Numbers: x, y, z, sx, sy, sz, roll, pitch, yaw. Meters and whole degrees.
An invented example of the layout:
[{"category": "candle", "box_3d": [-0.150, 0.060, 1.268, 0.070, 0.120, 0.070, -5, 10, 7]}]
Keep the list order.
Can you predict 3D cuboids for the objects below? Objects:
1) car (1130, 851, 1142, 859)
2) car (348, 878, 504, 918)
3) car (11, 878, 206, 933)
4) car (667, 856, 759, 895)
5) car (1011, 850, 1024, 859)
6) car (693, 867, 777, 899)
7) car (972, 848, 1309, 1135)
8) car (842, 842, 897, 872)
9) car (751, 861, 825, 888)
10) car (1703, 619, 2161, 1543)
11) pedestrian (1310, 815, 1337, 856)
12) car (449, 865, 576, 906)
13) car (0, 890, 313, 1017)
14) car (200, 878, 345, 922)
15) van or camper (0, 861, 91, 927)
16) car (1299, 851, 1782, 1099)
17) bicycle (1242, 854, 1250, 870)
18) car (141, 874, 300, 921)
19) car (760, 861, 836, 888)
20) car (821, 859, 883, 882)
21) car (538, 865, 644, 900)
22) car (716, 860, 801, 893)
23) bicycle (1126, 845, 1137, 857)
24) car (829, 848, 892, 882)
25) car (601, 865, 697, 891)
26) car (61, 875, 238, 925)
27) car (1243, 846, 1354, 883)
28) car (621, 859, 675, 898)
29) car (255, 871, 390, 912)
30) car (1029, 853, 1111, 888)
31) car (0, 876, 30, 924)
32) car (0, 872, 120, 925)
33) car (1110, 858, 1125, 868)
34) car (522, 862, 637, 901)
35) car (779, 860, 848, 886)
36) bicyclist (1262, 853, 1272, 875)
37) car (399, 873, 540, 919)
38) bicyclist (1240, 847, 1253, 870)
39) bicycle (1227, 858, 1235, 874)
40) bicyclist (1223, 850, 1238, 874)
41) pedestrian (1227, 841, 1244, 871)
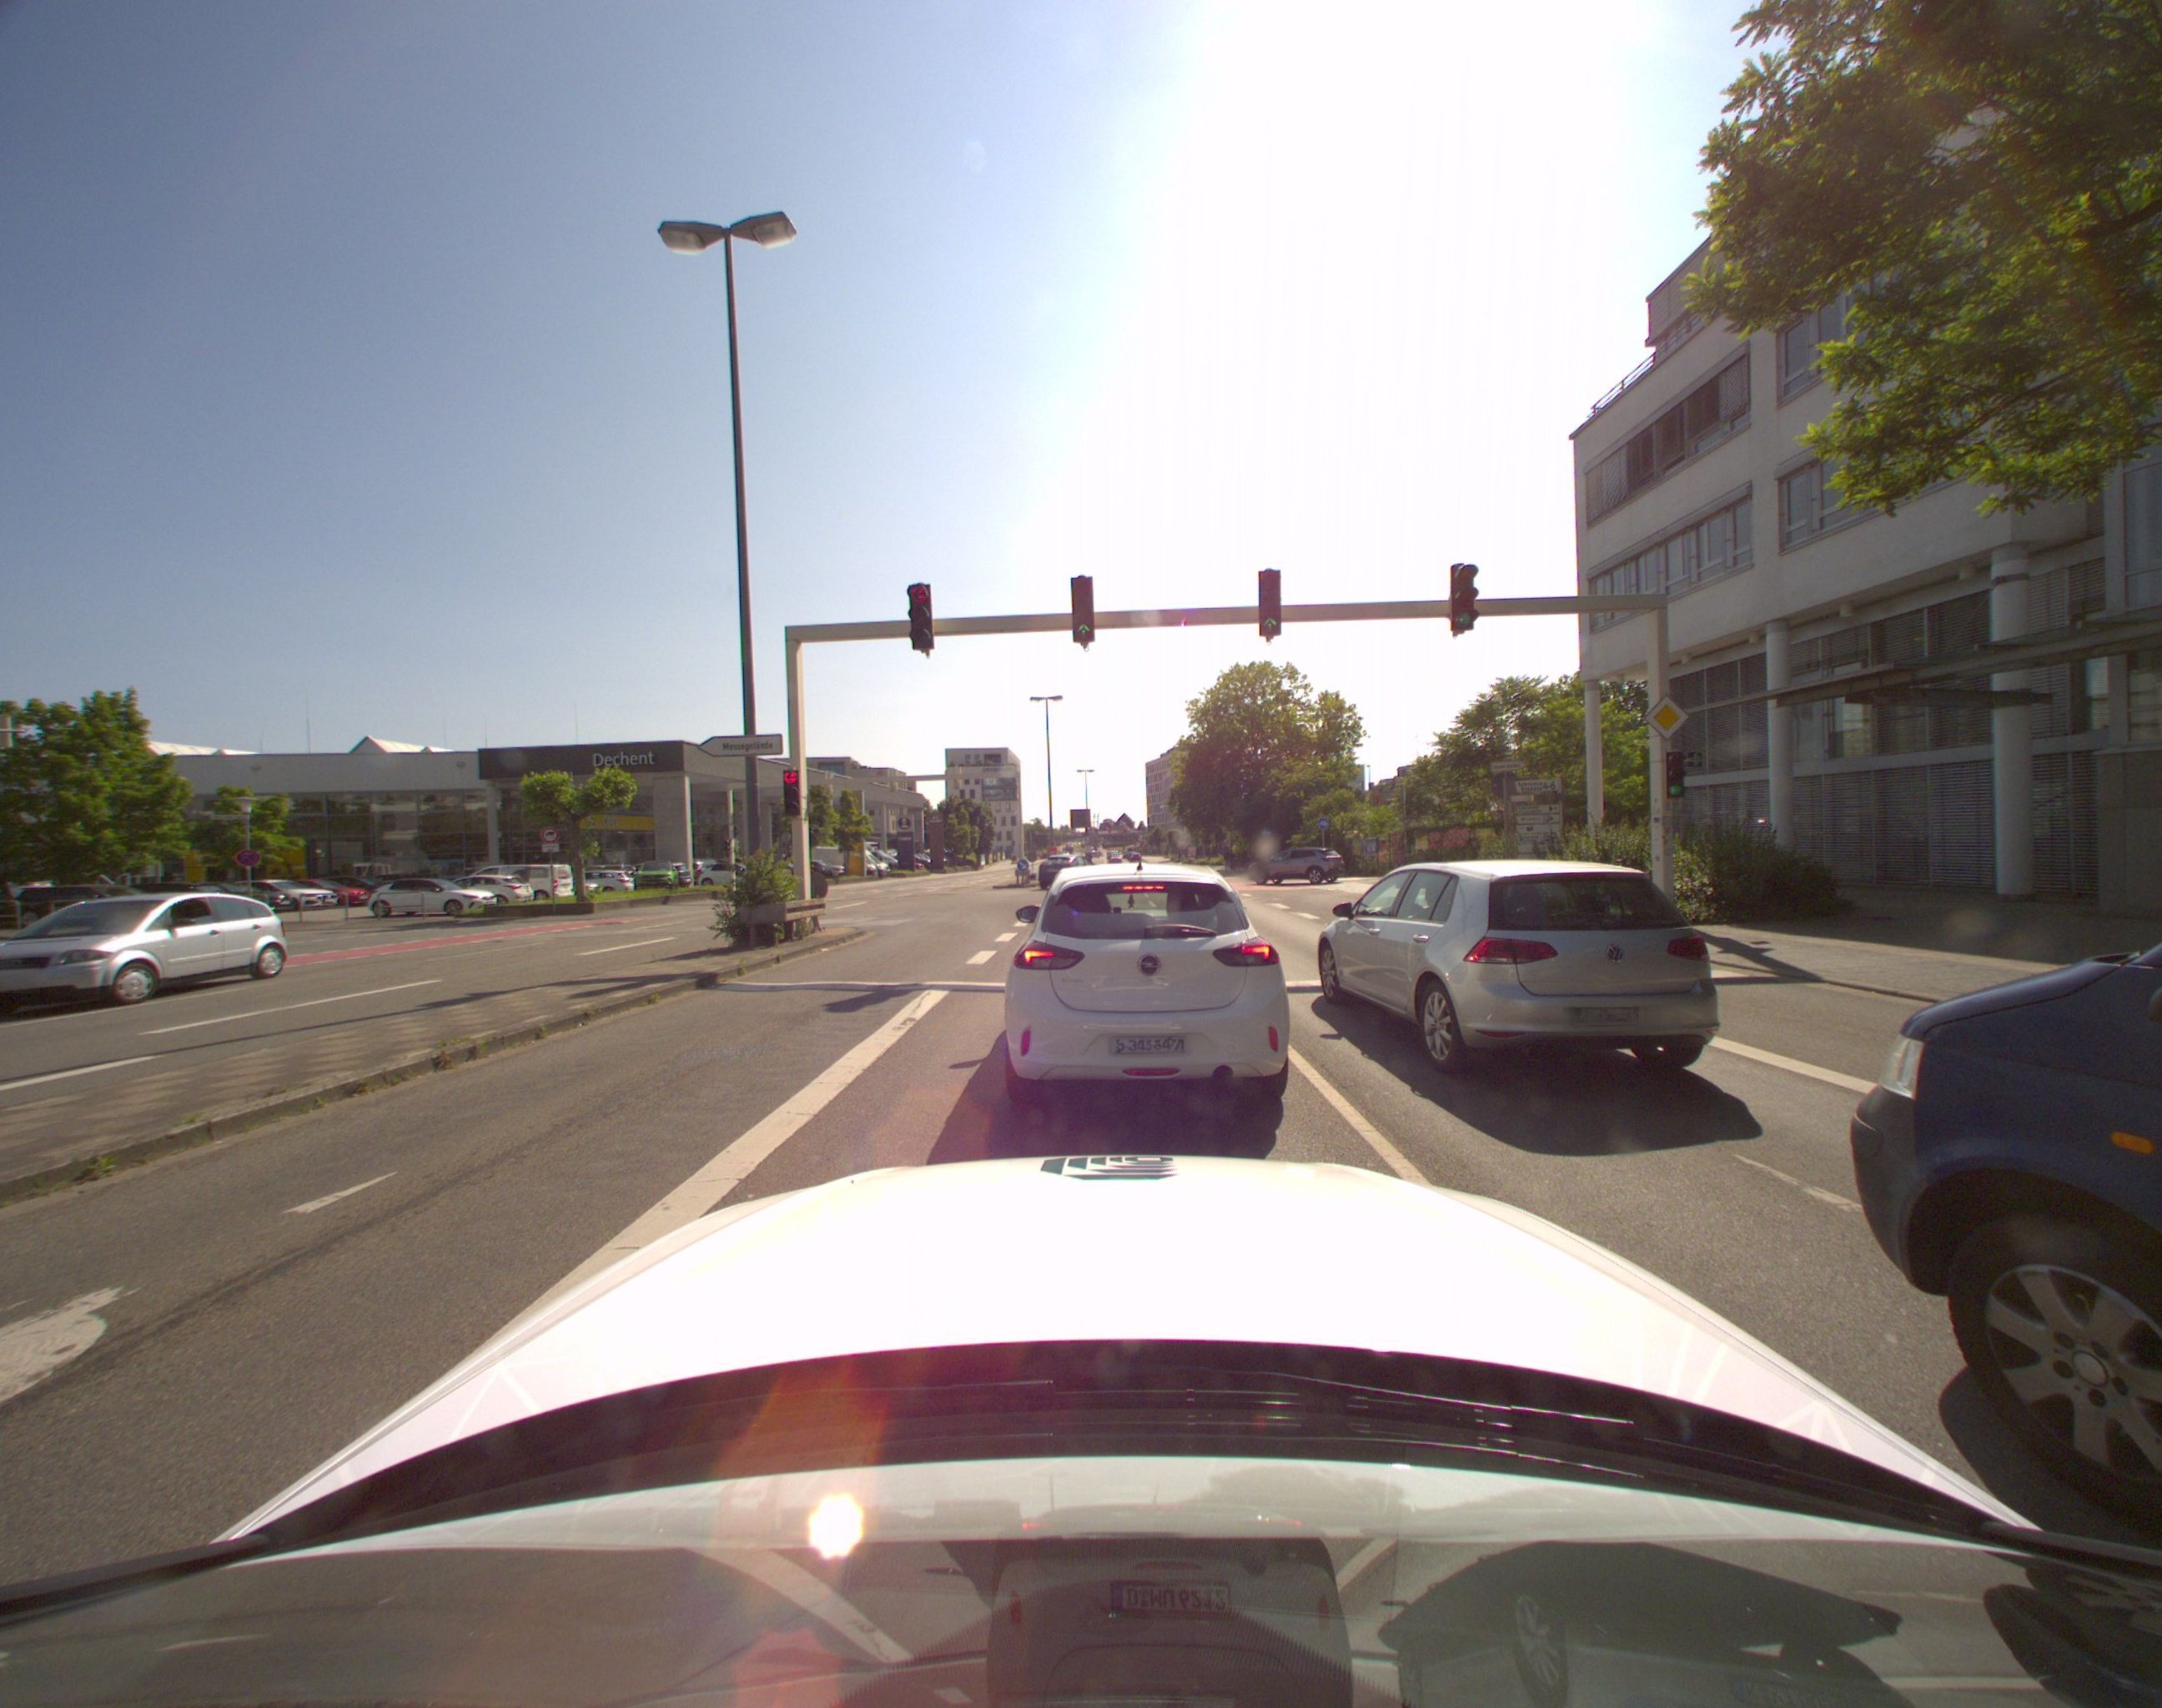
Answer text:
[{"category": "car", "box_3d": [9.087, 0.165, 135.267, 1.799, 1.386, 4.001, 0, -1, 2]}, {"category": "car", "box_3d": [-25.523, 1.680, 31.869, 4.348, 1.300, 1.997, -2, 0, -4]}, {"category": "car", "box_3d": [-35.085, 1.813, 29.487, 4.348, 1.696, 1.997, -2, 0, -4]}, {"category": "car", "box_3d": [-19.261, 1.096, 42.785, 3.859, 1.837, 1.999, -2, 0, -1]}, {"category": "car", "box_3d": [-11.175, 0.106, 142.638, 1.799, 1.386, 4.001, 0, -1, 2]}, {"category": "car", "box_3d": [-19.871, 1.650, 46.933, 3.981, 1.599, 1.996, -2, 0, -6]}, {"category": "car", "box_3d": [0.376, 0.745, 6.398, 1.773, 1.494, 4.001, -2, 0, 2]}, {"category": "car", "box_3d": [-19.098, 0.277, 73.695, 4.334, 2.601, 2.004, -2, 0, 6]}, {"category": "car", "box_3d": [-20.404, 1.401, 56.816, 4.344, 1.696, 1.999, -2, 0, -1]}, {"category": "car", "box_3d": [3.218, 0.446, 0.497, 1.986, 1.948, 4.892, -2, -1, 2]}, {"category": "pedestrian", "box_3d": [12.389, -0.931, 41.589, 1.023, 2.013, 1.039, -2, 0, 1]}, {"category": "car", "box_3d": [-26.545, 1.443, 38.174, 4.353, 1.696, 1.995, -2, 0, -7]}, {"category": "car", "box_3d": [-14.100, 1.368, 12.332, 1.773, 1.438, 3.899, -2, 0, -12]}, {"category": "car", "box_3d": [-36.638, 2.059, 37.023, 4.348, 1.696, 1.997, -2, 0, -4]}, {"category": "van or camper", "box_3d": [-41.949, 1.572, 31.348, 4.711, 2.400, 1.995, -2, 0, -8]}, {"category": "car", "box_3d": [3.302, 0.744, 6.900, 1.801, 1.429, 3.999, -2, -1, 0]}, {"category": "bicycle", "box_3d": [11.965, 0.588, 58.936, 0.372, 1.147, 1.034, 0, -1, 0]}, {"category": "car", "box_3d": [-36.099, 1.797, 34.272, 4.348, 1.696, 1.997, -2, 0, -4]}, {"category": "car", "box_3d": [-18.984, 1.358, 54.716, 4.343, 1.696, 1.999, -2, 0, -1]}, {"category": "car", "box_3d": [-18.506, 1.344, 65.909, 4.334, 1.696, 2.004, -2, 0, 6]}, {"category": "car", "box_3d": [-26.159, 1.498, 43.592, 4.352, 1.591, 1.996, -2, 0, -7]}, {"category": "car", "box_3d": [-19.604, 1.341, 49.590, 4.284, 1.765, 1.999, -2, 0, -1]}, {"category": "bicycle", "box_3d": [9.658, -0.496, 155.513, 1.986, 2.157, 4.001, -2, 0, 1]}, {"category": "car", "box_3d": [-18.473, 0.945, 68.361, 4.469, 2.684, 2.134, -2, 0, 10]}, {"category": "car", "box_3d": [-24.705, 1.377, 46.687, 4.352, 1.268, 1.995, -3, -2, -7]}, {"category": "car", "box_3d": [-36.458, 1.777, 31.982, 4.348, 1.696, 1.997, -2, 0, -4]}, {"category": "car", "box_3d": [9.862, 0.489, 37.051, 4.376, 1.551, 2.013, -2, 0, 38]}, {"category": "car", "box_3d": [-21.255, 1.220, 39.964, 1.915, 1.733, 3.258, -2, -1, -35]}, {"category": "car", "box_3d": [-36.621, 1.777, 39.422, 4.352, 1.696, 1.995, -2, 0, -7]}, {"category": "car", "box_3d": [-0.423, 0.722, 36.615, 1.975, 1.447, 4.396, -1, 0, 24]}, {"category": "car", "box_3d": [-40.539, 1.724, 28.365, 4.371, 1.696, 1.987, -2, 0, -20]}, {"category": "car", "box_3d": [-43.164, 1.821, 33.706, 3.984, 2.013, 1.995, -2, 0, -8]}, {"category": "car", "box_3d": [5.261, 1.294, 118.595, 1.987, 1.331, 3.998, 0, -1, -1]}, {"category": "car", "box_3d": [-24.727, 1.315, 40.299, 4.353, 1.696, 1.995, -2, 0, -7]}, {"category": "car", "box_3d": [-19.749, 1.371, 60.192, 4.344, 1.696, 1.999, -2, 0, -1]}, {"category": "bicyclist", "box_3d": [14.056, 0.778, 61.474, 0.650, 1.637, 0.660, 0, -1, 3]}, {"category": "car", "box_3d": [-26.175, 1.777, 34.989, 4.348, 1.696, 1.997, -2, 0, -4]}, {"category": "bicyclist", "box_3d": [11.972, 0.352, 58.979, 0.687, 1.643, 0.775, -2, 0, -7]}, {"category": "bicycle", "box_3d": [11.027, 0.874, 59.918, 0.371, 1.216, 1.154, 0, 0, 2]}, {"category": "bicyclist", "box_3d": [10.999, 0.597, 59.922, 0.876, 1.772, 0.864, -2, 0, 1]}, {"category": "pedestrian", "box_3d": [12.015, 0.155, 63.348, 1.023, 2.238, 1.039, -2, 0, 1]}]
